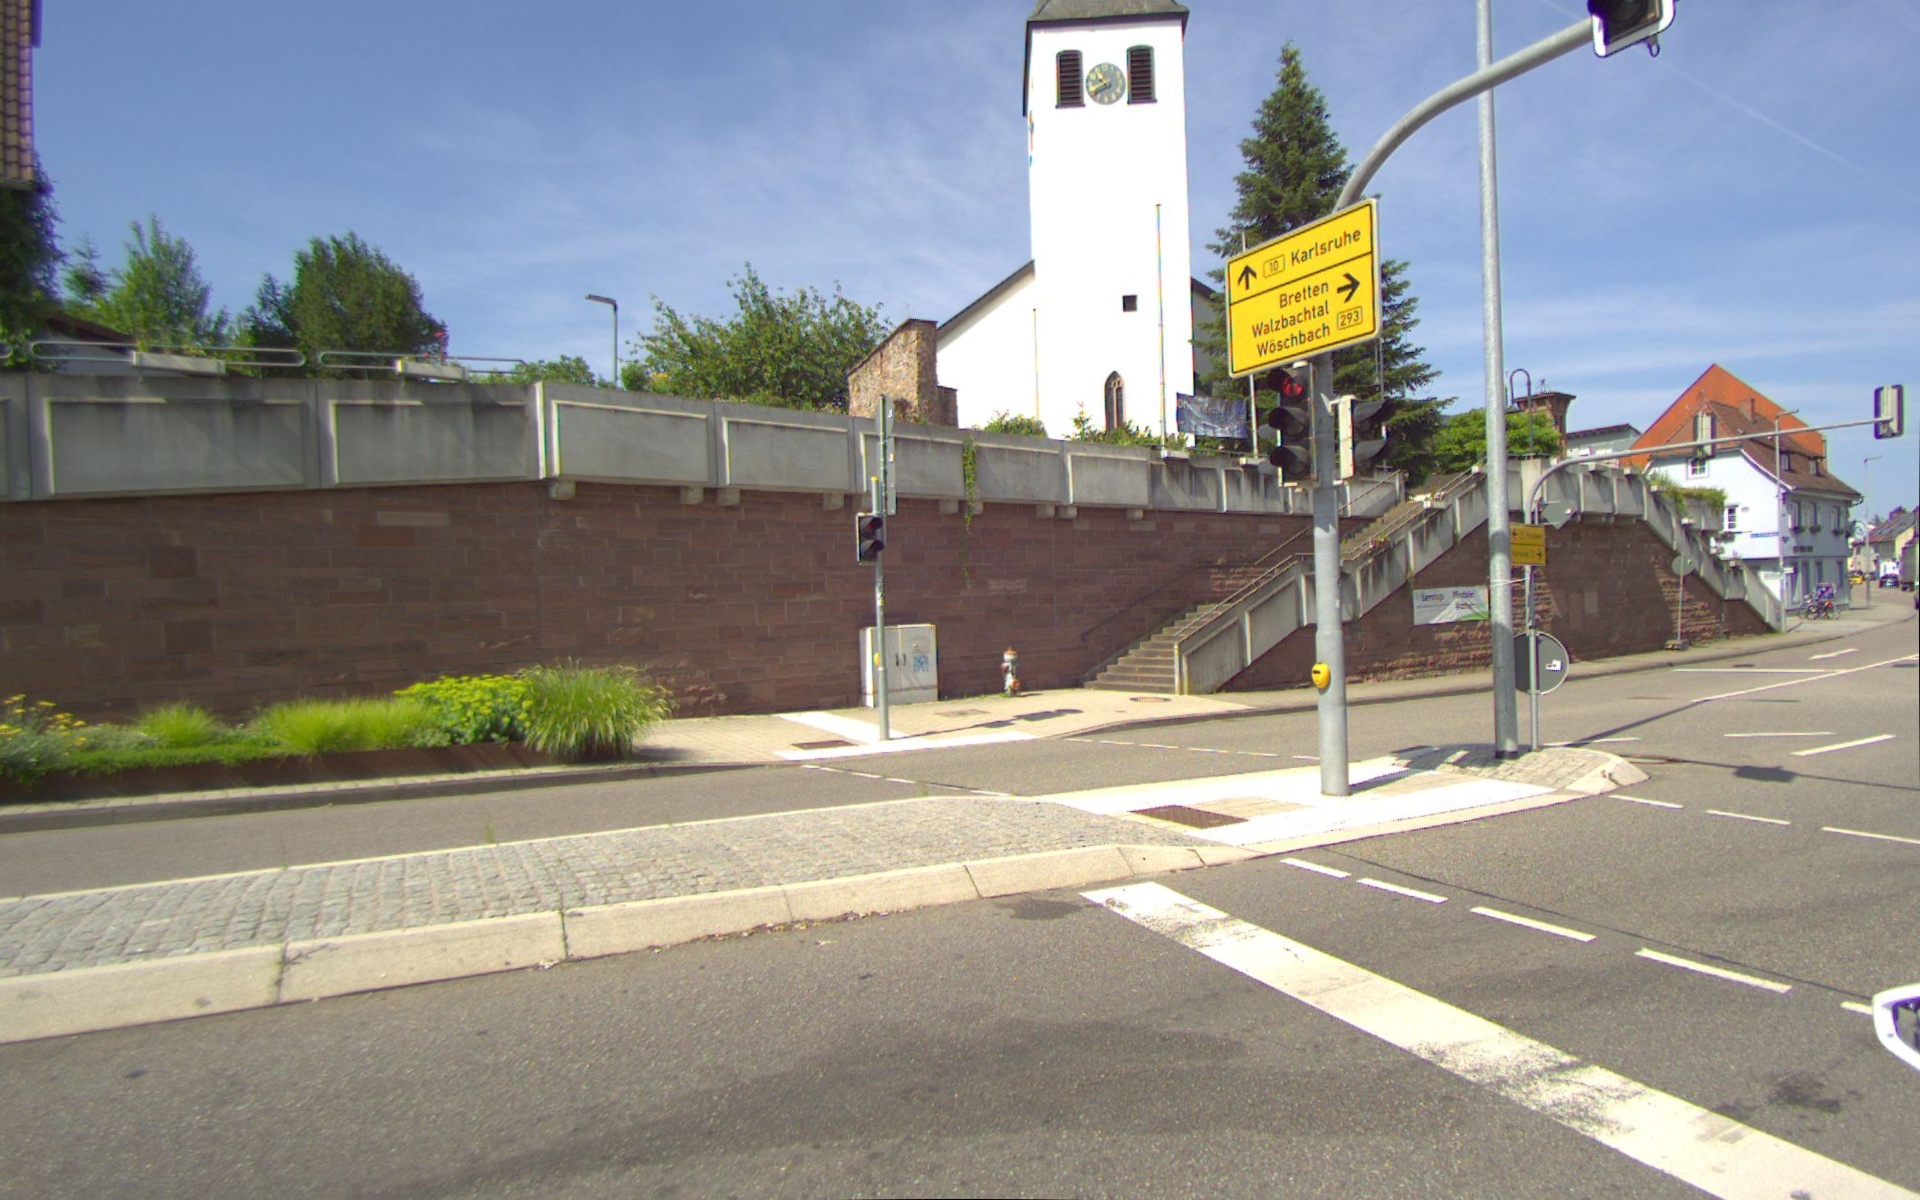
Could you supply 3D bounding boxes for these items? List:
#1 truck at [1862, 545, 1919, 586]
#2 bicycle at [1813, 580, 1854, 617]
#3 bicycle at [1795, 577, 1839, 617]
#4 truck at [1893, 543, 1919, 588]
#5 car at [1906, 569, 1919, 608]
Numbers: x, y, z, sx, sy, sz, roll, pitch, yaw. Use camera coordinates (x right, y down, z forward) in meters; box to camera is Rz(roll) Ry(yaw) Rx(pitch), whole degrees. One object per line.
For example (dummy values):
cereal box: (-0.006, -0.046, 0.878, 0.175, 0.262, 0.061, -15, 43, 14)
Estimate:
truck: (85.831, -3.074, 91.686, 3.114, 3.507, 10.687, 1, 1, 31)
bicycle: (39.102, -0.082, 44.954, 2.531, 1.629, 0.555, -1, 2, -29)
bicycle: (39.138, -0.168, 45.862, 2.637, 1.803, 0.638, -1, 2, -29)
truck: (80.617, -2.851, 83.189, 3.178, 3.597, 9.205, 1, 2, 32)
car: (52.240, -0.650, 53.784, 2.113, 1.993, 5.249, -2, -1, 42)
